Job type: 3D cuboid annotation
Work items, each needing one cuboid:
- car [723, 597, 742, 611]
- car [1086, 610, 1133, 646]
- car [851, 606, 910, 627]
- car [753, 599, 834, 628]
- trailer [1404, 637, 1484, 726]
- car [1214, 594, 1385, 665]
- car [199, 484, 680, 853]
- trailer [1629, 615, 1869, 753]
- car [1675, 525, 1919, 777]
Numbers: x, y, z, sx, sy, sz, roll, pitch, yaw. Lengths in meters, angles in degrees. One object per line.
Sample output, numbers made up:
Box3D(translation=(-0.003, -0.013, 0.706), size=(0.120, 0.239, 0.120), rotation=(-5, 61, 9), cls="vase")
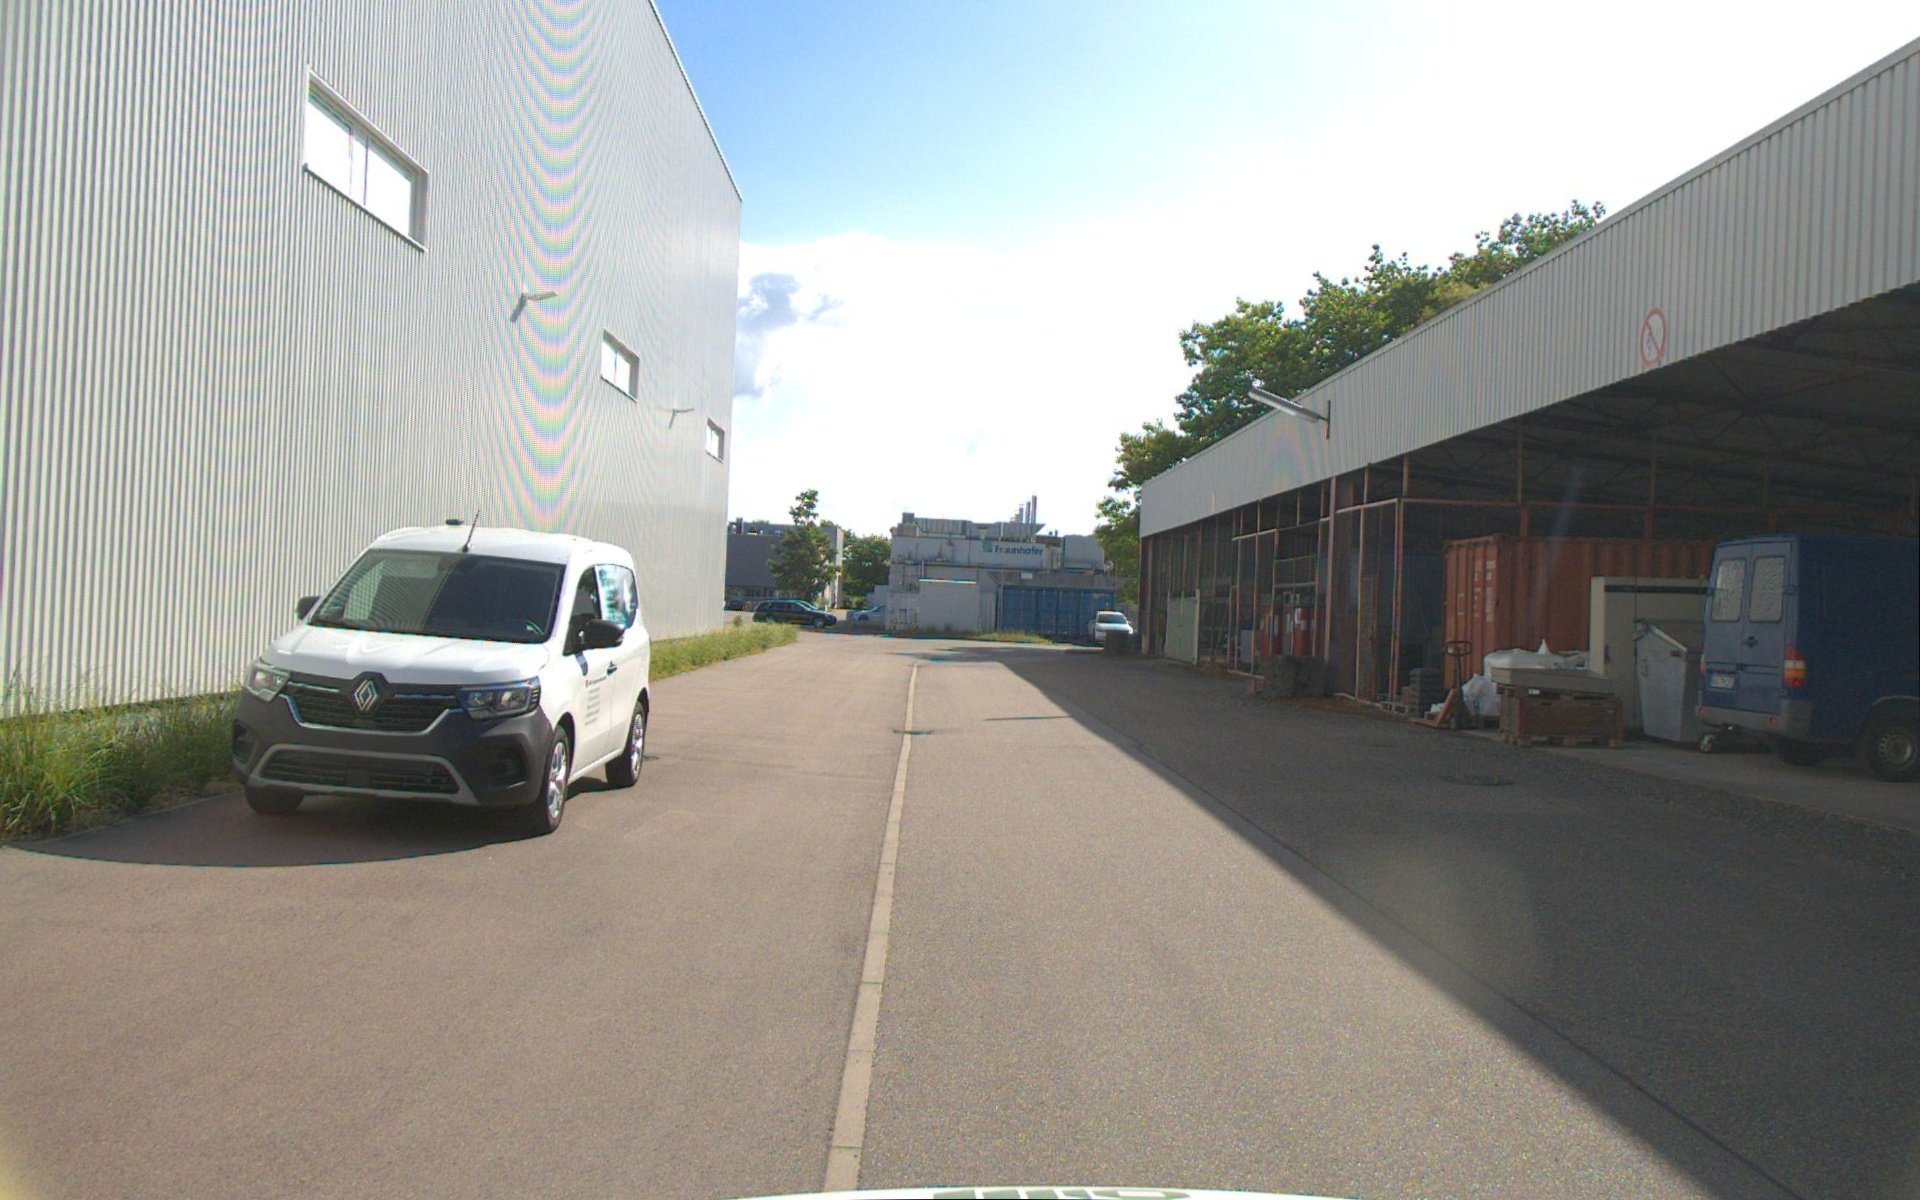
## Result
Box3D(translation=(-25.791, 0.489, 187.807), size=(1.821, 1.521, 4.027), rotation=(1, -1, -3), cls="car")
Box3D(translation=(7.275, 1.343, 80.867), size=(1.939, 1.630, 4.377), rotation=(1, 1, 0), cls="car")
Box3D(translation=(-5.808, 1.202, 120.878), size=(4.216, 1.483, 1.823), rotation=(1, -1, -2), cls="car")
Box3D(translation=(-9.324, 0.764, 92.892), size=(4.358, 1.558, 1.823), rotation=(1, -1, -2), cls="car")
Box3D(translation=(6.502, 1.076, 22.273), size=(0.541, 1.138, 1.546), rotation=(1, -1, -3), cls="trailer")
Box3D(translation=(10.337, 0.899, 50.490), size=(4.681, 1.950, 1.995), rotation=(2, -1, -10), cls="car")
Box3D(translation=(-3.152, 0.394, 11.098), size=(1.748, 1.847, 4.600), rotation=(4, -1, -1), cls="car")
Box3D(translation=(9.110, 0.939, 19.234), size=(1.996, 1.492, 1.739), rotation=(1, -1, 3), cls="trailer")
Box3D(translation=(10.278, 0.553, 16.655), size=(5.225, 2.321, 2.151), rotation=(2, -1, -2), cls="car")
